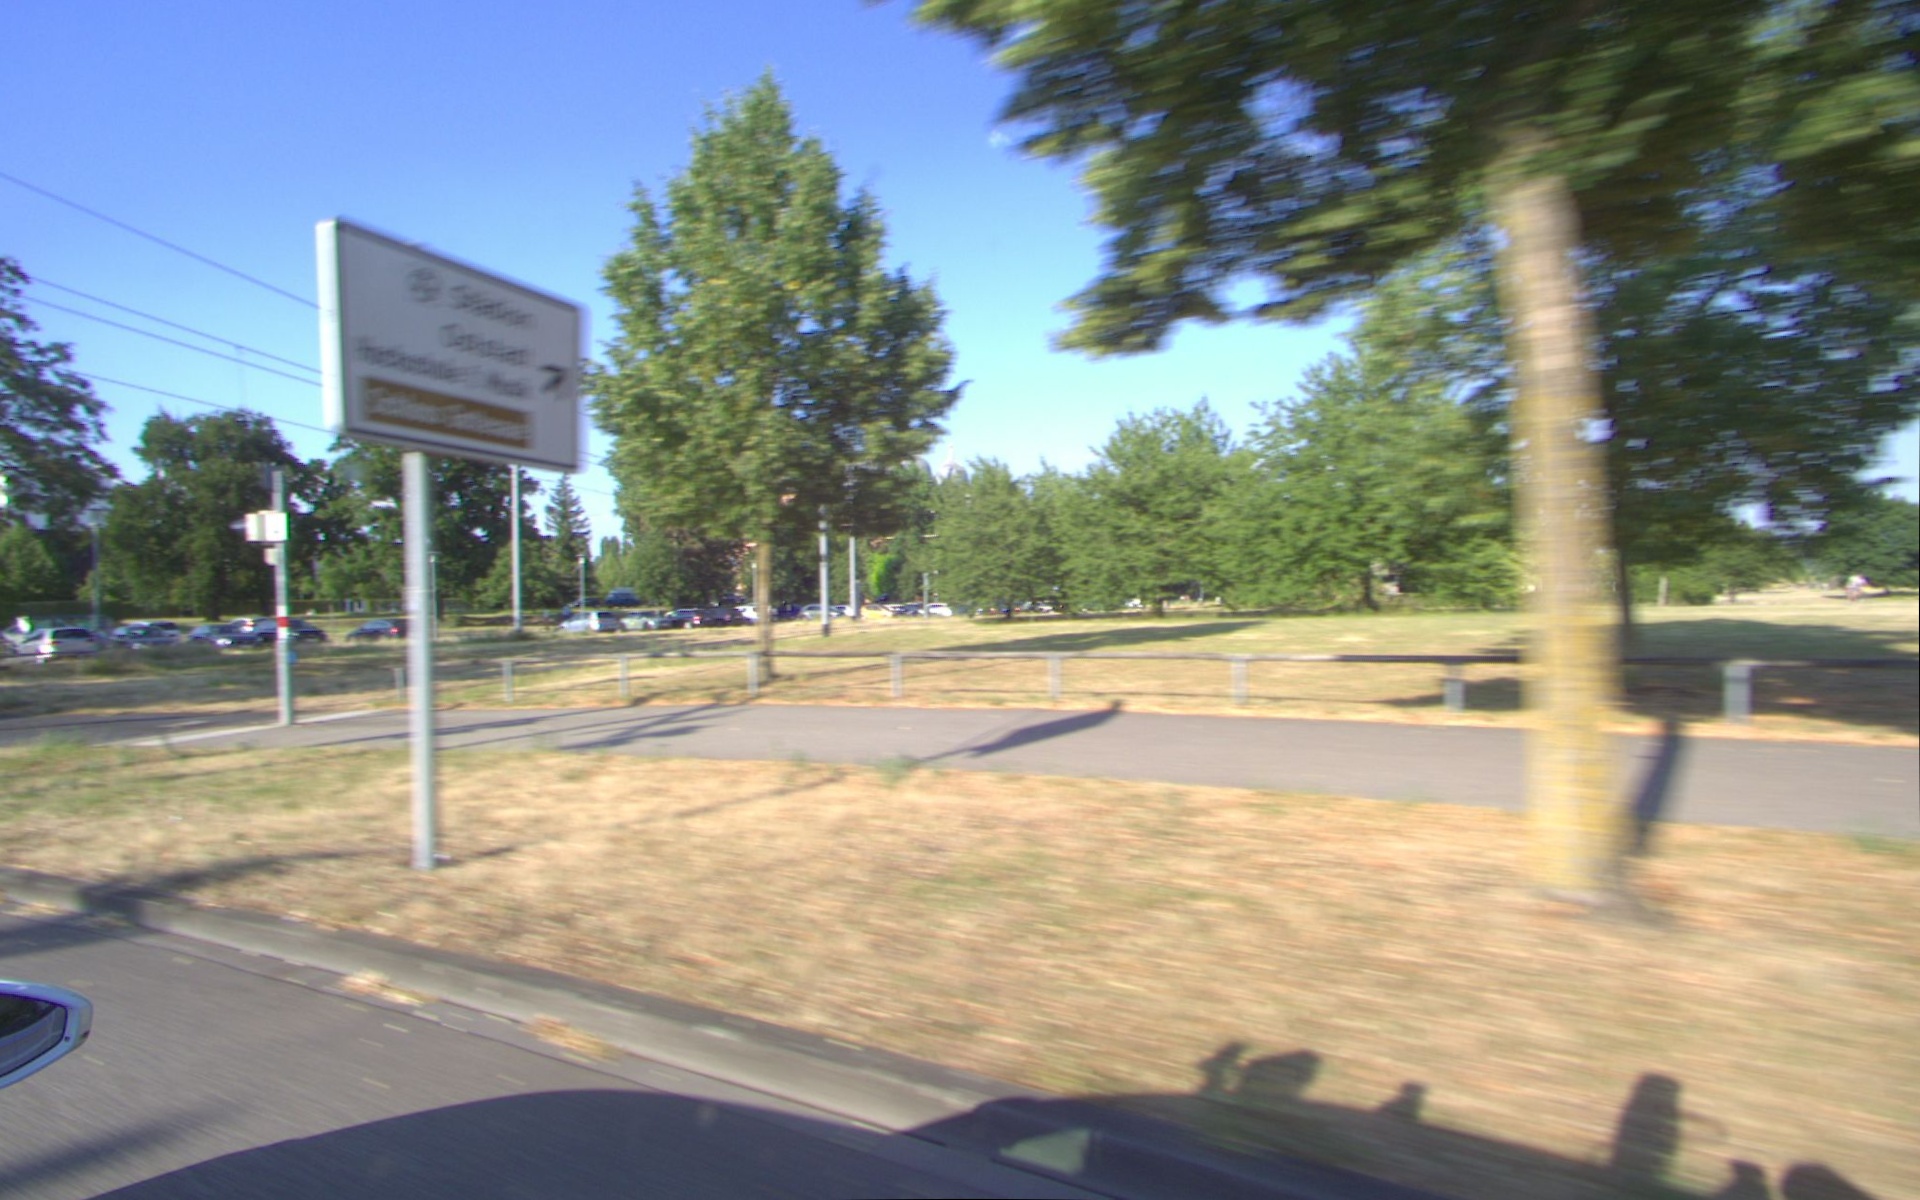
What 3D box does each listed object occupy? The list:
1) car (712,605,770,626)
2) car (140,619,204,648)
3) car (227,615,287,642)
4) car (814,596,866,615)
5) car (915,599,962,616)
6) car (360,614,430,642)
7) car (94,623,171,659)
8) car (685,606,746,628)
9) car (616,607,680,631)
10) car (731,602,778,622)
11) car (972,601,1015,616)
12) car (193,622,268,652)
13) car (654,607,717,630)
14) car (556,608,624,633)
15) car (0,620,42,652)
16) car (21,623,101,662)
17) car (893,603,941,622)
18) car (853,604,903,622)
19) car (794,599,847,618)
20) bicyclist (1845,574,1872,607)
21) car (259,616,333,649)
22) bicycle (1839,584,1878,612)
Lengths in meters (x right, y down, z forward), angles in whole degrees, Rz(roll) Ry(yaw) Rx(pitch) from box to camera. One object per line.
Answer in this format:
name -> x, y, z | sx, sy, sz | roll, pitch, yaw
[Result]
car -> -15.580, 1.125, 71.234 | 3.943, 1.421, 1.817 | -1, 0, 32
car -> -40.646, 1.730, 51.631 | 3.918, 1.420, 1.595 | -1, 0, 37
car -> -39.397, 1.609, 56.056 | 3.918, 1.420, 1.595 | -1, 0, 37
car -> -9.678, 0.455, 80.666 | 3.943, 1.421, 1.817 | -1, 0, 32
car -> -2.007, 0.667, 91.594 | 3.943, 1.421, 1.817 | -1, 0, 32
car -> -28.107, 1.395, 49.782 | 3.918, 1.327, 1.595 | -1, 0, 37
car -> -34.800, 1.712, 42.084 | 3.918, 1.420, 1.595 | -1, 0, 37
car -> -16.741, 1.175, 68.505 | 3.943, 1.421, 1.817 | -1, 0, 32
car -> -20.130, 1.224, 64.559 | 3.943, 1.421, 1.817 | -1, 0, 32
car -> -18.147, 1.076, 88.393 | 3.943, 1.694, 1.817 | -1, 0, 32
car -> 3.386, 0.884, 101.799 | 3.943, 1.421, 1.817 | -1, 0, 32
car -> -32.383, 1.627, 44.408 | 3.918, 1.237, 1.595 | -2, 0, 37
car -> -18.258, 1.230, 66.604 | 3.943, 1.421, 1.817 | -1, 0, 32
car -> -22.367, 1.260, 60.549 | 3.943, 1.421, 1.817 | -1, 0, 32
car -> -44.506, 1.668, 46.820 | 3.918, 1.420, 1.595 | -1, 0, 37
car -> -35.454, 1.636, 39.451 | 3.918, 1.420, 1.595 | -1, 0, 37
car -> -3.844, 1.116, 89.528 | 3.943, 1.589, 1.817 | -1, 0, 32
car -> -6.998, 1.109, 85.336 | 3.943, 1.421, 1.817 | -1, 0, 32
car -> -10.958, 0.678, 78.613 | 3.943, 1.421, 1.817 | -1, 0, 32
bicyclist -> 49.945, -0.521, 55.668 | 0.625, 1.802, 0.929 | -1, -1, 1
car -> -30.659, 1.491, 46.203 | 3.918, 1.420, 1.595 | -1, 0, 37
bicycle -> 49.955, -0.094, 55.703 | 0.385, 1.468, 1.944 | -1, -2, 0
